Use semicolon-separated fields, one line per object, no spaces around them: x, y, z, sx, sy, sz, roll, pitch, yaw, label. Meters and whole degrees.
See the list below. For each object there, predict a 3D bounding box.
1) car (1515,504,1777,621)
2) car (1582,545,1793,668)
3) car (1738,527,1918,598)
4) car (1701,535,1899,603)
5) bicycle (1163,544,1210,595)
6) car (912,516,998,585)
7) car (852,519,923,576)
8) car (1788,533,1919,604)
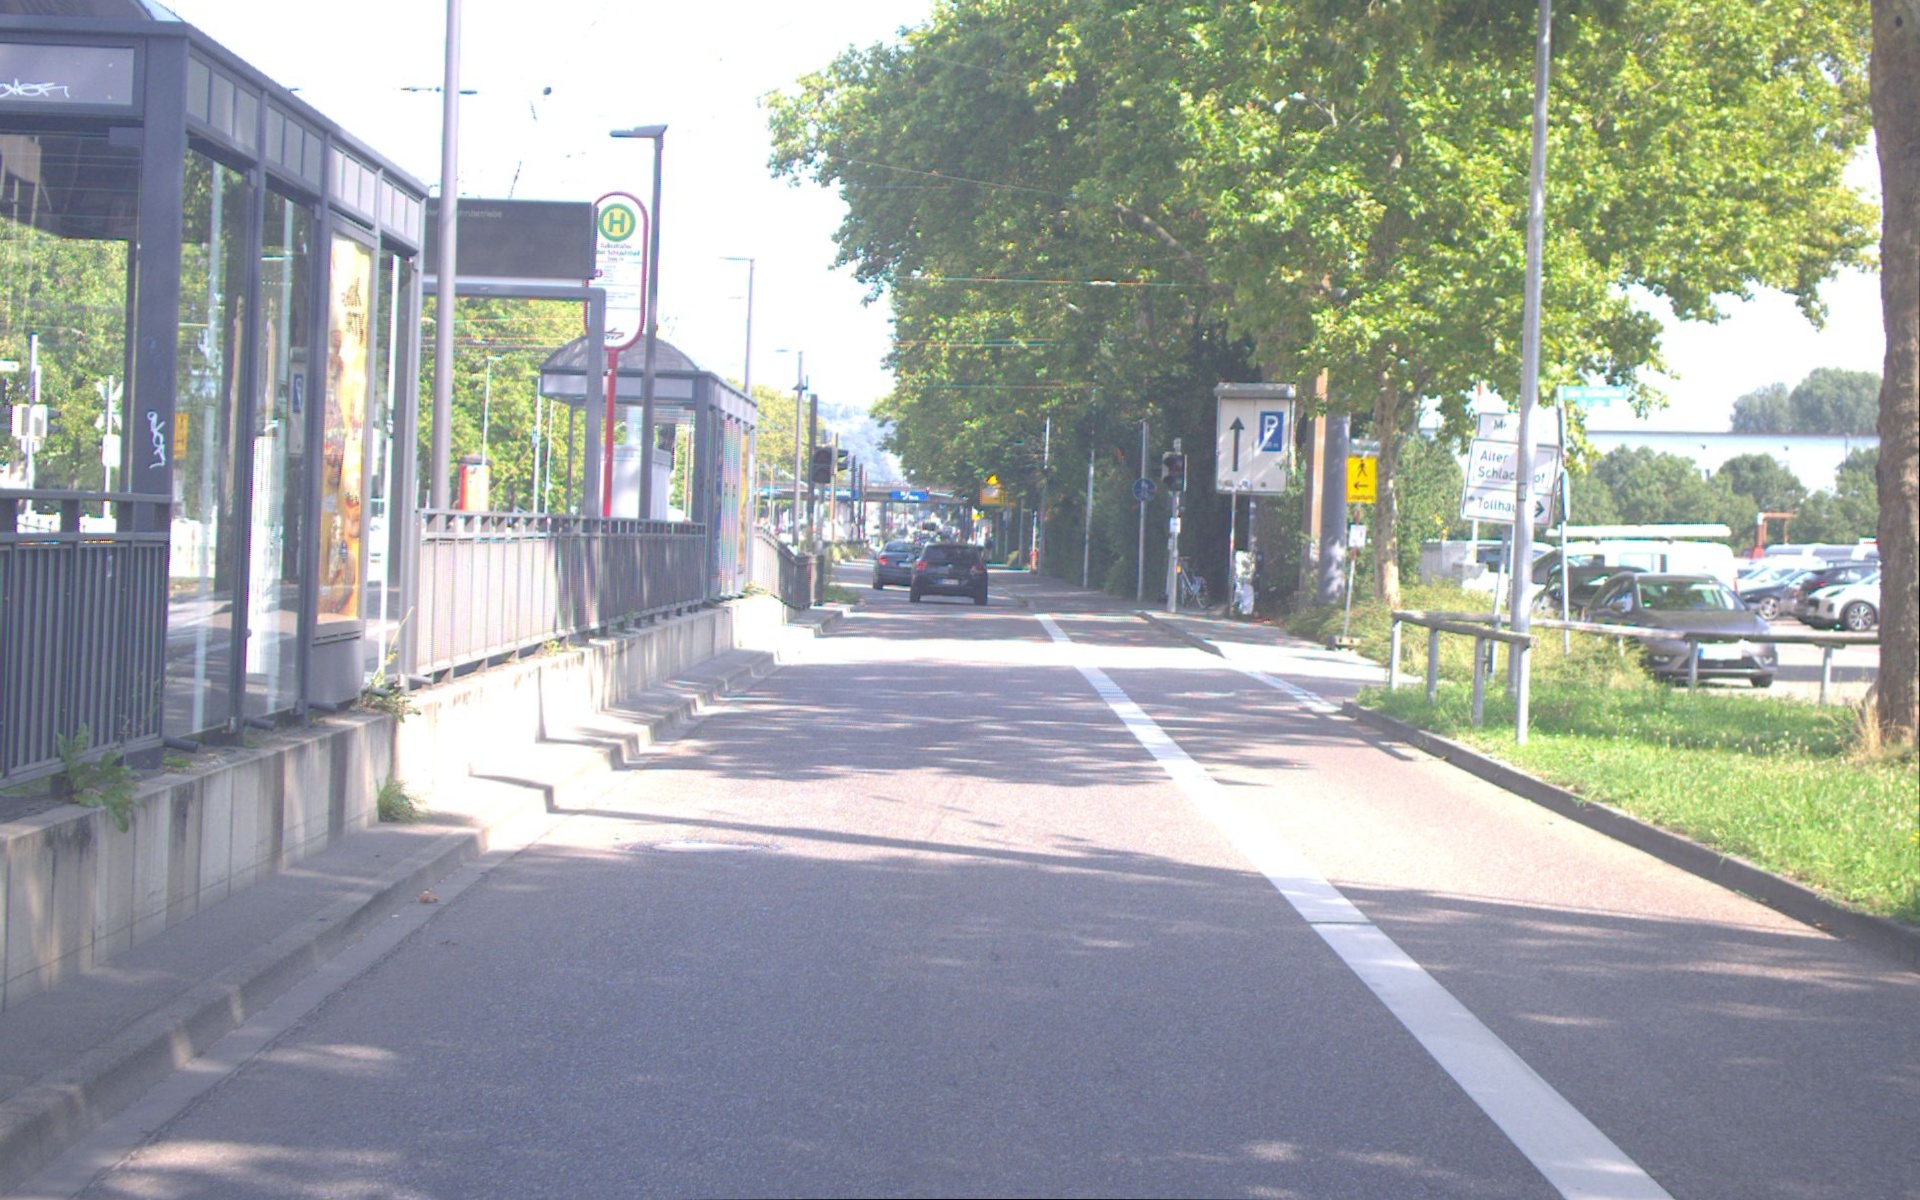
11.585;-0.646;58.260;4.103;1.912;1.848;1;1;3;car
9.434;0.047;44.908;1.728;1.443;4.551;1;2;0;car
23.761;-1.031;94.193;4.343;1.706;1.948;3;1;-2;car
20.875;-0.785;85.540;4.343;1.459;1.948;3;1;-2;car
4.853;-0.664;73.721;0.610;1.018;2.403;2;1;-5;bicycle
-0.134;-1.166;79.626;1.907;1.532;4.001;0;2;-1;car
-2.110;-1.528;99.175;1.973;1.532;4.001;-1;2;-1;car
20.958;-0.663;76.842;4.343;1.459;1.948;3;1;-2;car
